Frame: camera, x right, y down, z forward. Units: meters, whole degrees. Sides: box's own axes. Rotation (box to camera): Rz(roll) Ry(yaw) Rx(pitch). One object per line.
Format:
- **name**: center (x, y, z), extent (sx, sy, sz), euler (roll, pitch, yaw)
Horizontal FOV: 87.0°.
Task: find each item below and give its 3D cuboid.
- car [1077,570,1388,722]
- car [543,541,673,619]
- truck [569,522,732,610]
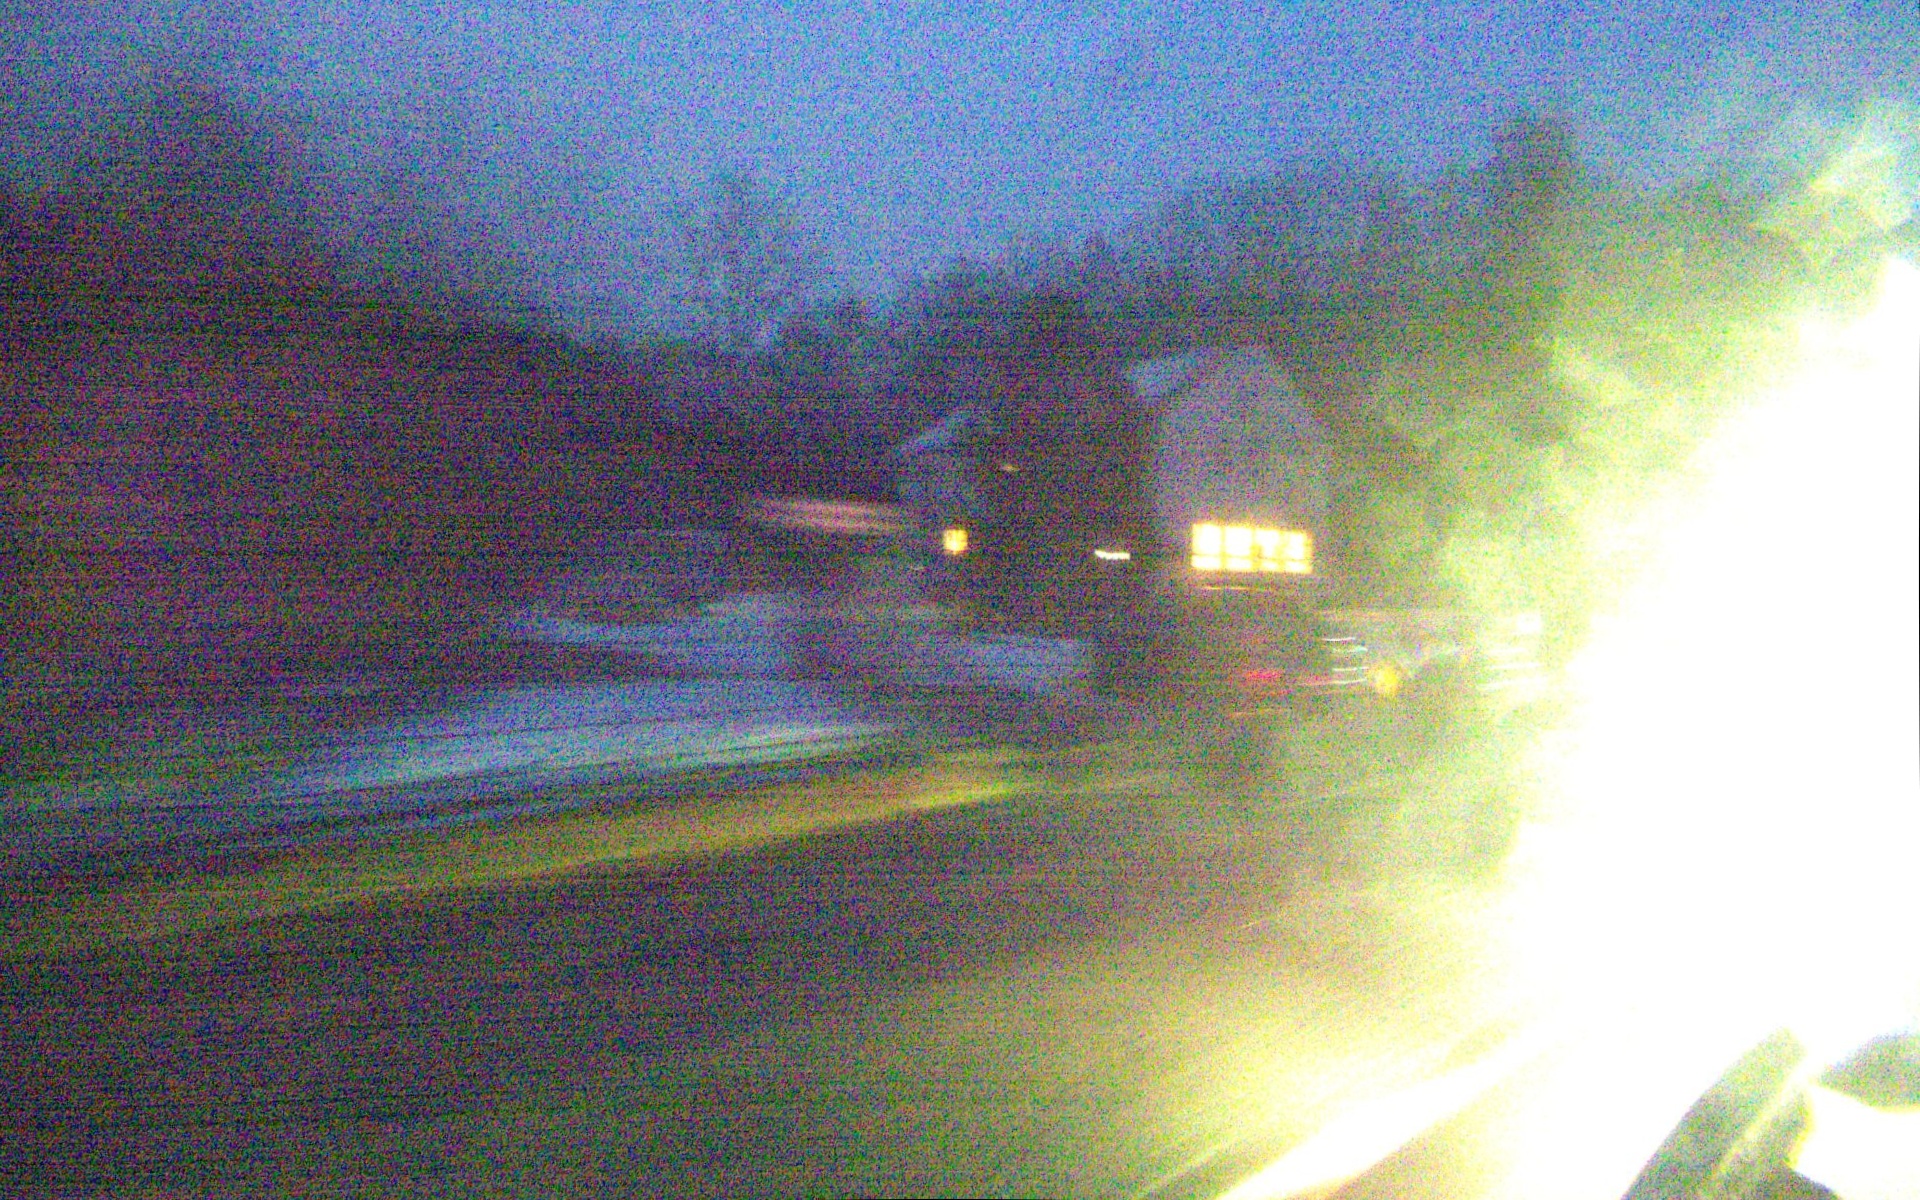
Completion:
- **car**: center (3.206, 0.422, 12.665), extent (1.713, 1.539, 3.746), euler (0, 2, -25)
- **car**: center (-10.053, -0.592, 28.670), extent (1.964, 2.038, 4.753), euler (0, 2, -39)
- **truck**: center (-10.493, -1.080, 34.276), extent (5.304, 2.788, 2.205), euler (0, 0, 28)
